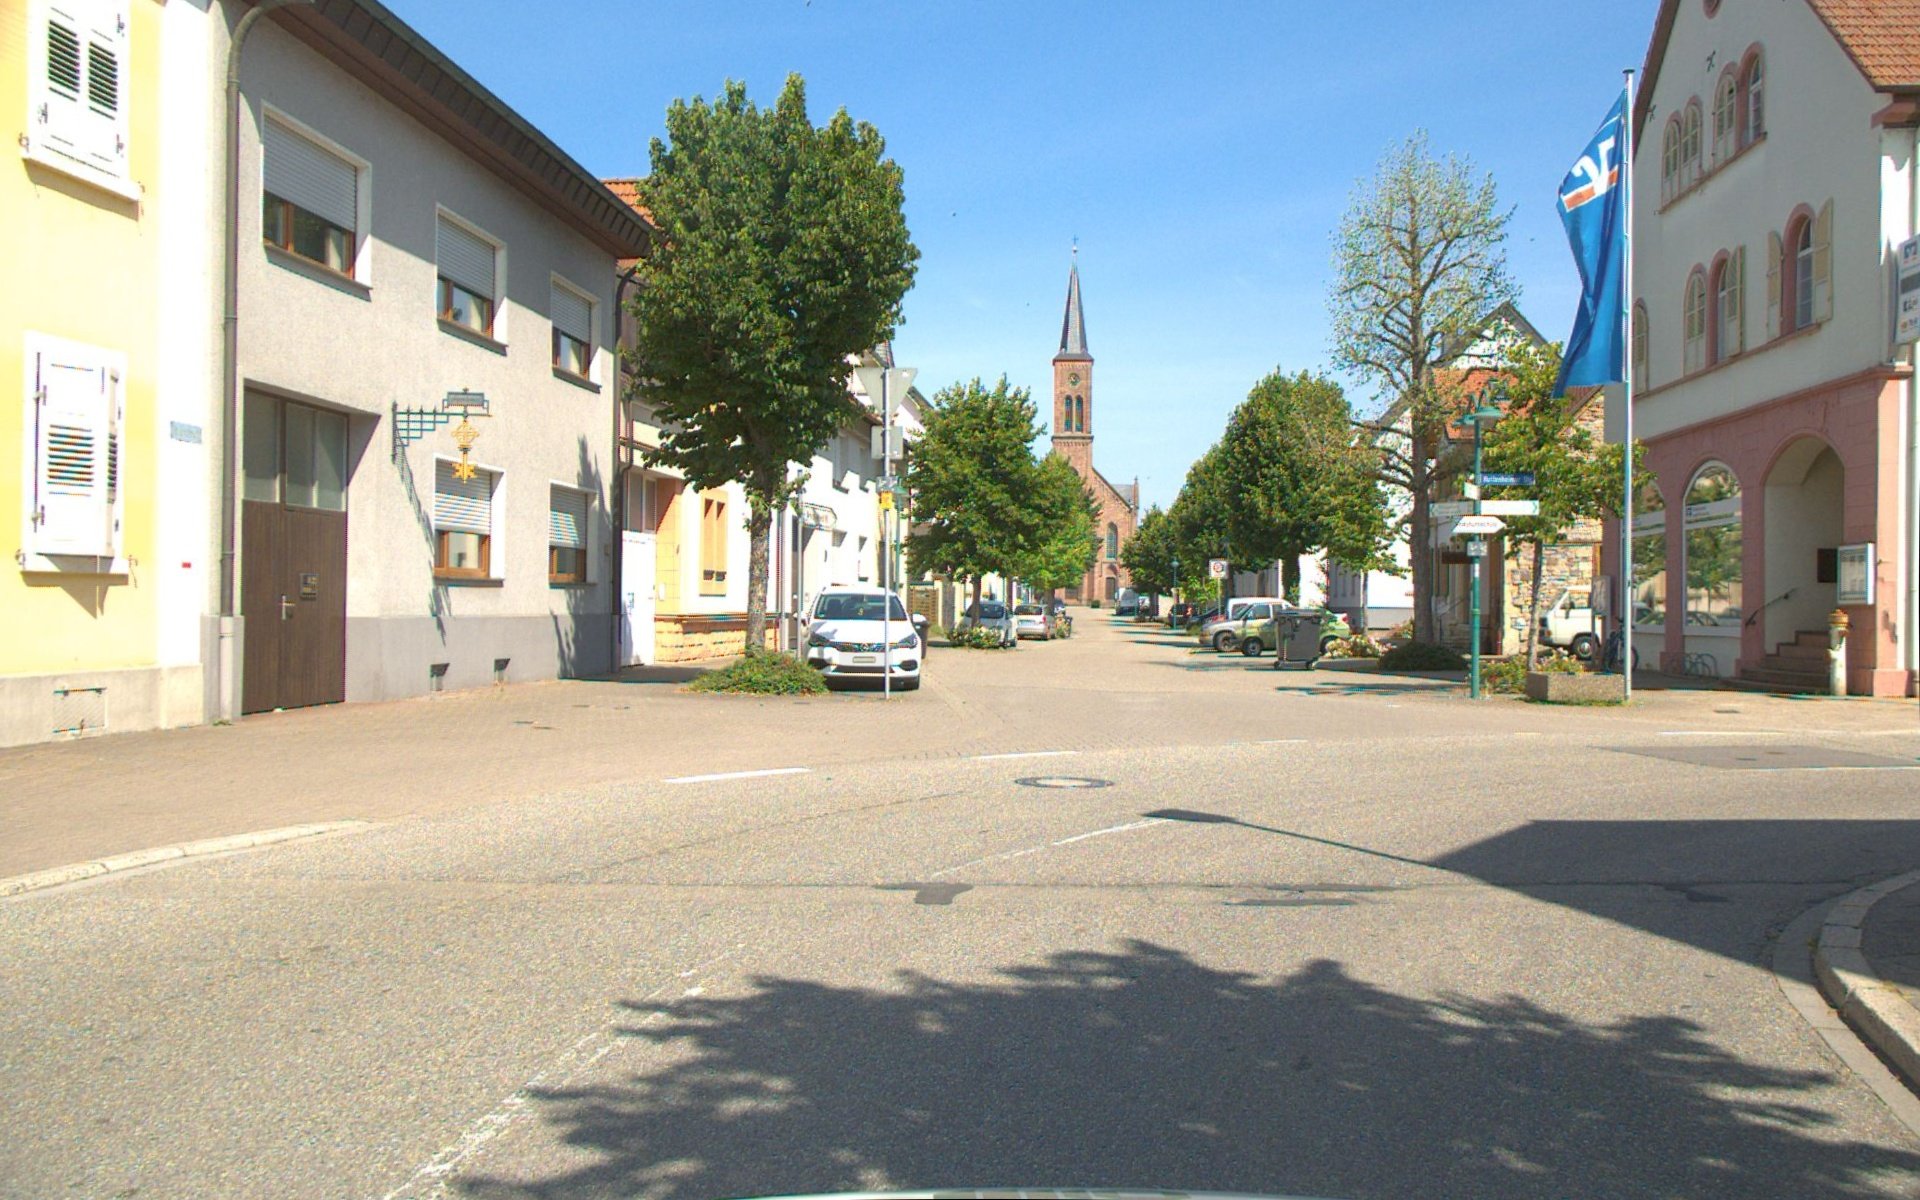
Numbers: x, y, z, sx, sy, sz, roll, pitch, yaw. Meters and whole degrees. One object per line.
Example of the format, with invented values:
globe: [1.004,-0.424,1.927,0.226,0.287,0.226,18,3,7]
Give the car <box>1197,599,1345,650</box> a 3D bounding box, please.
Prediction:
car: [10.435,0.818,55.782,4.702,1.652,2.001,0,0,5]

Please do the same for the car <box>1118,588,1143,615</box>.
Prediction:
car: [15.957,0.160,154.881,2.197,2.318,4.505,2,-1,5]

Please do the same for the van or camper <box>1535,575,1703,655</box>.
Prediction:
van or camper: [17.410,0.371,43.878,3.902,2.049,2.002,0,0,14]

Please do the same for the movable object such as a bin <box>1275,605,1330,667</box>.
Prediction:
movable object such as a bin: [7.576,0.790,36.614,1.162,1.361,0.790,0,0,9]

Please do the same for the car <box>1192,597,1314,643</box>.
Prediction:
car: [10.346,0.696,58.627,4.062,1.595,2.001,0,0,5]

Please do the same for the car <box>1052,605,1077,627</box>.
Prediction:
car: [8.815,1.329,139.565,1.952,1.847,4.001,0,0,1]

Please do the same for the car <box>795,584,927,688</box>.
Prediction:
car: [-1.614,0.500,25.461,1.813,1.466,4.507,0,0,-6]

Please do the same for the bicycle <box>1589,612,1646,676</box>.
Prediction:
bicycle: [12.356,0.809,31.124,0.580,1.155,1.750,0,0,8]

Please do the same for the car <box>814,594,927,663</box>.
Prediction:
car: [-1.985,0.608,38.166,1.942,1.466,5.214,0,0,4]

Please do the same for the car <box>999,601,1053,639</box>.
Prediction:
car: [2.714,0.806,68.892,1.953,1.489,3.999,1,0,-2]

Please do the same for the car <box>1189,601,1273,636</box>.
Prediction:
car: [13.308,0.897,81.351,3.903,1.668,2.001,0,0,5]

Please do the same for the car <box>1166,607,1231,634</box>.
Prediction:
car: [15.138,1.296,105.115,3.903,1.646,2.001,0,0,3]

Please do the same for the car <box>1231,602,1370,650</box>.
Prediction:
car: [10.108,0.759,49.330,3.841,1.368,2.001,0,0,5]

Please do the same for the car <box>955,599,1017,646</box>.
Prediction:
car: [0.951,0.766,57.995,1.952,1.601,4.002,0,0,4]
